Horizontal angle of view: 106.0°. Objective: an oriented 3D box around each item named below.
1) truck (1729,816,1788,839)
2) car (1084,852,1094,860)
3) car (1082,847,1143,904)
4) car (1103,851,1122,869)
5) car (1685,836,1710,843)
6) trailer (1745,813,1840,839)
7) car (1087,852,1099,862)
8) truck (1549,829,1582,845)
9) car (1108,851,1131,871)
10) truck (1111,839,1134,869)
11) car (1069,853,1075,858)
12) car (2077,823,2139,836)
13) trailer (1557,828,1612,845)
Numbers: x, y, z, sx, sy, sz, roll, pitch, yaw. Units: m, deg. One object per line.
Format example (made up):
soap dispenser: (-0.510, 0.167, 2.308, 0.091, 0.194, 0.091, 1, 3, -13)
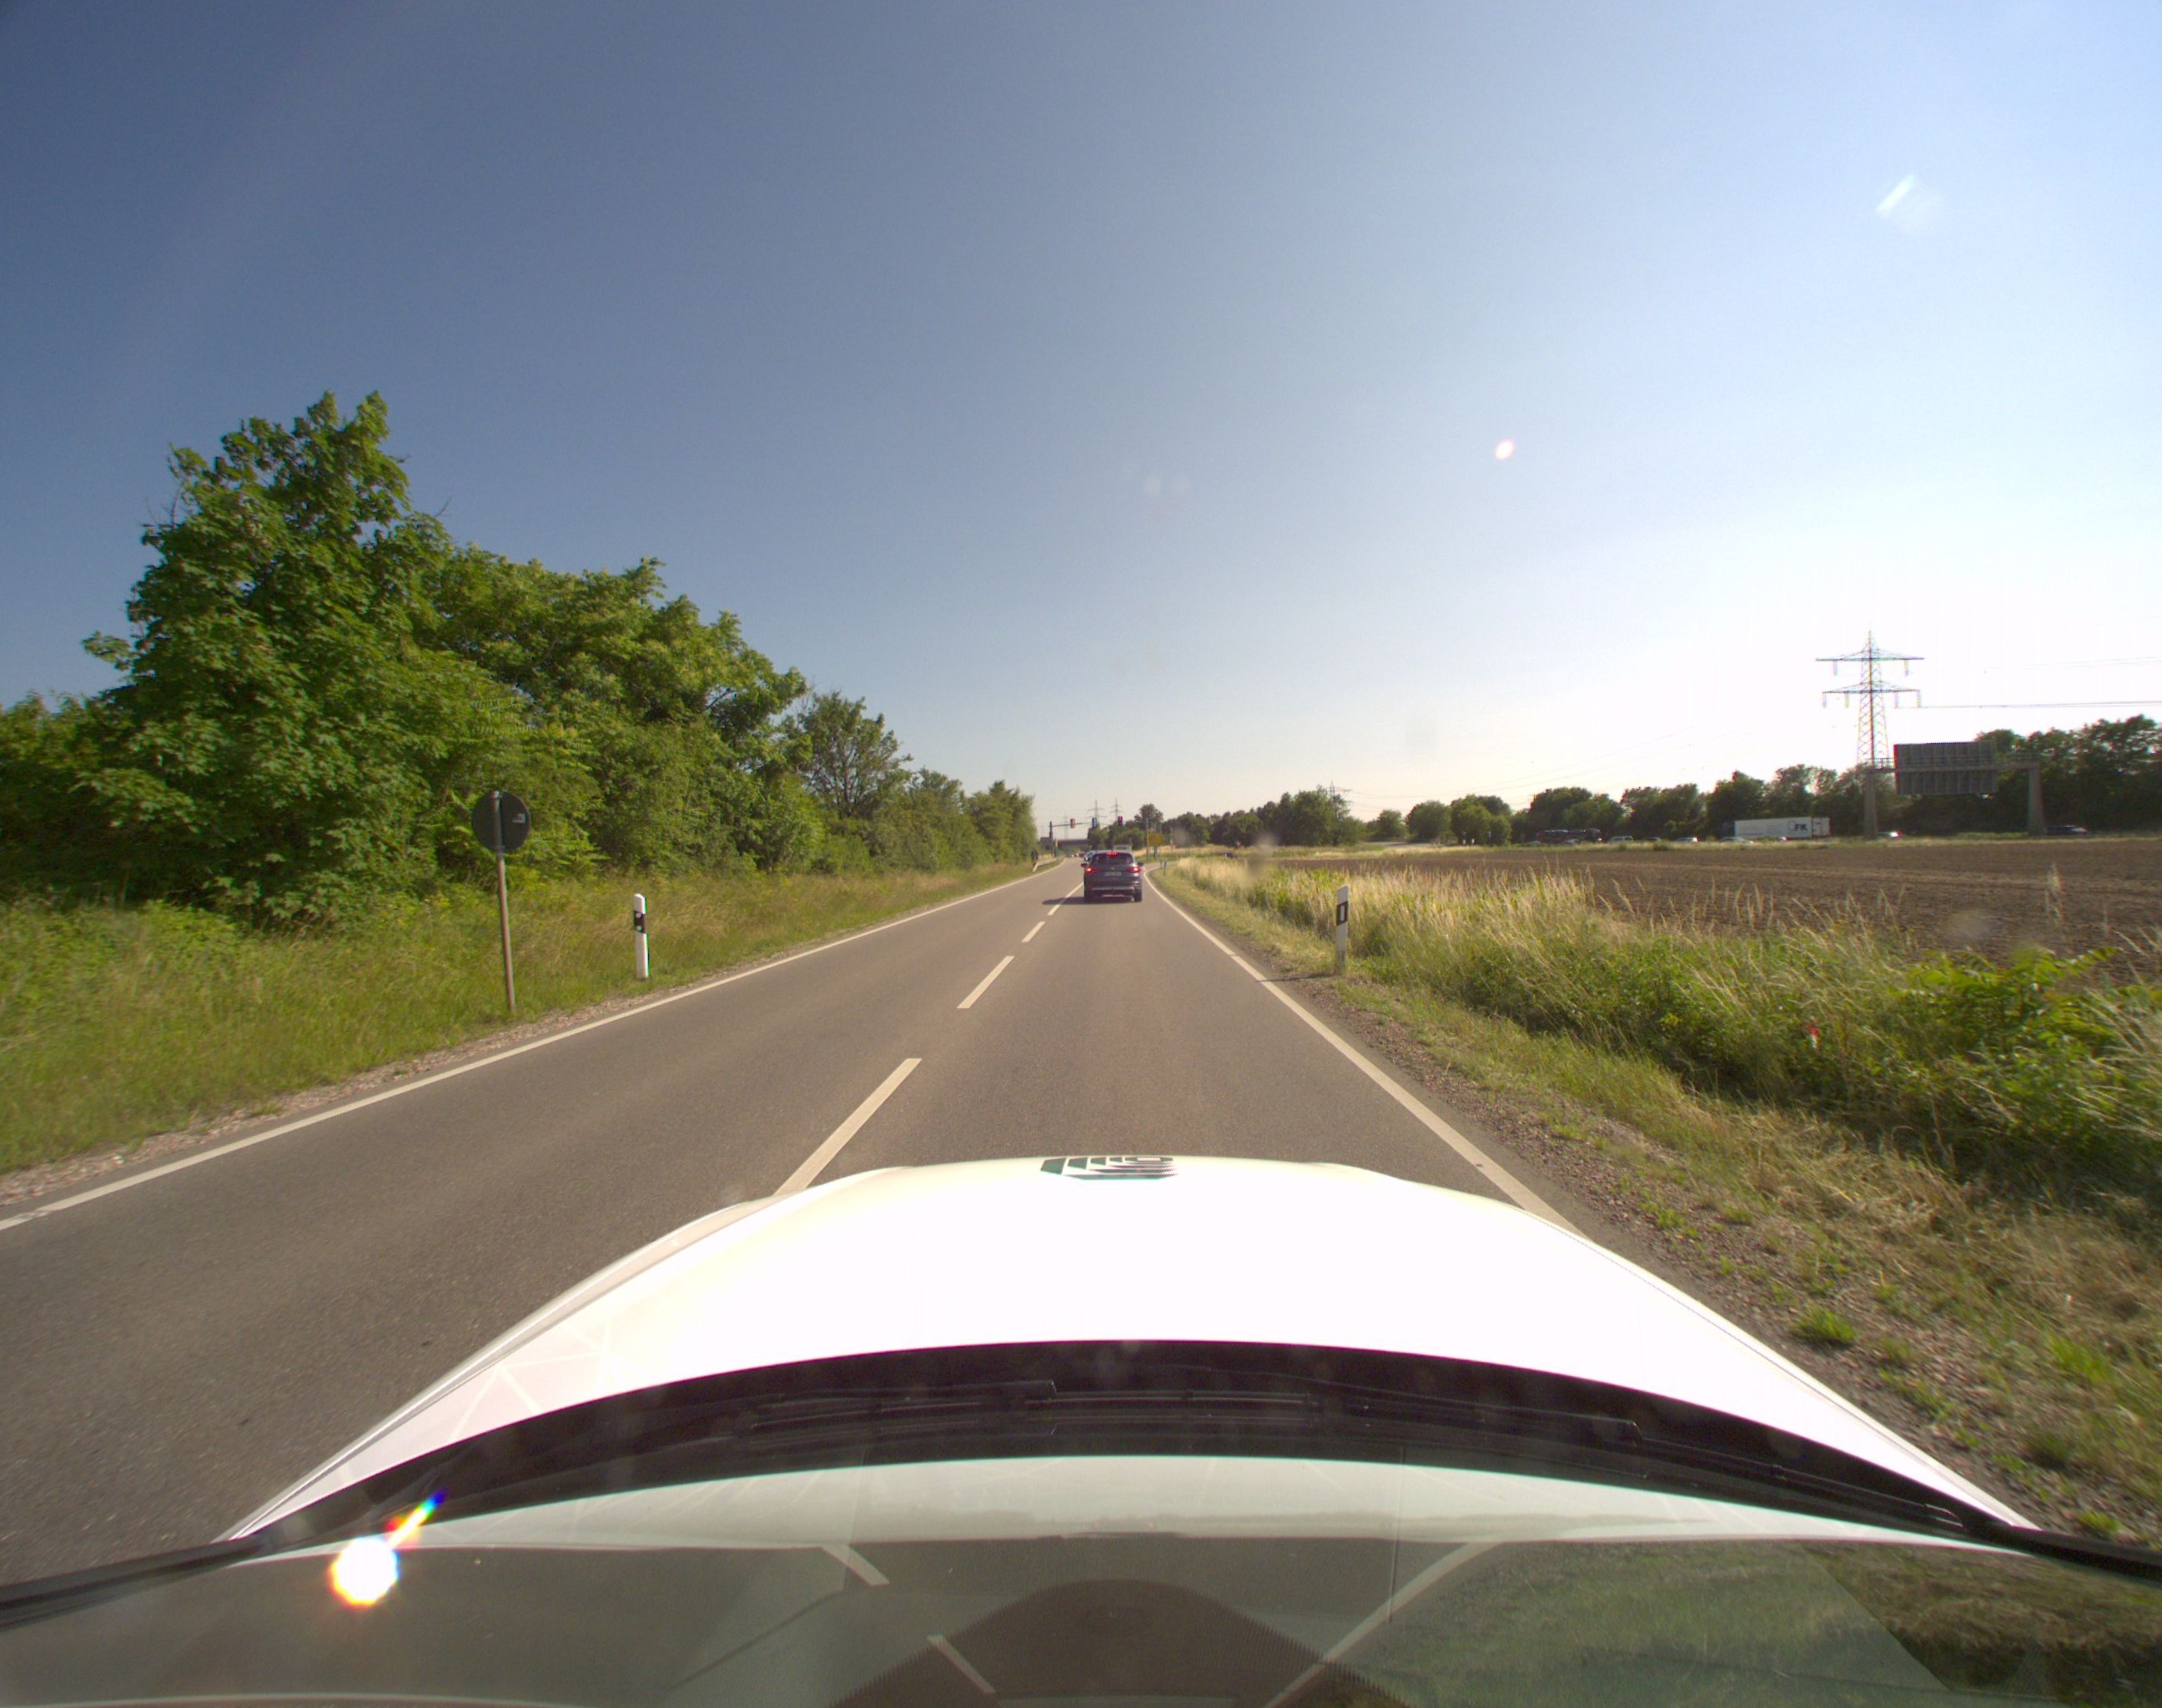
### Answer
truck: (104.868, -4.015, 126.248, 3.273, 3.267, 6.980, -2, 0, 1)
car: (1.533, 0.319, 153.148, 1.679, 1.380, 3.531, -1, 0, -1)
car: (0.996, 0.624, 26.155, 1.779, 1.629, 4.002, -1, 0, 2)
car: (3.082, 0.556, 79.754, 1.779, 1.675, 4.002, -1, 0, 2)
car: (108.064, -2.508, 142.872, 1.660, 1.147, 3.733, 0, 0, 2)
trailer: (104.734, -4.018, 120.265, 3.273, 3.267, 12.458, -2, 0, 1)
car: (1.894, 0.443, 132.820, 1.811, 1.540, 3.997, -2, 0, -2)
truck: (104.881, -3.657, 176.475, 3.273, 3.267, 6.430, -2, 1, 1)
car: (3.136, 0.563, 66.648, 1.779, 1.543, 4.002, -1, 0, 2)
truck: (4.510, -0.007, 87.798, 2.328, 3.066, 5.814, -1, 0, 3)
car: (-2.874, 0.355, 255.572, 1.819, 1.431, 3.997, -2, 0, -2)
car: (96.965, -2.320, 76.969, 1.390, 1.151, 3.581, 0, 1, 0)
trailer: (104.756, -3.588, 169.909, 3.273, 3.267, 13.456, -2, 1, 1)
